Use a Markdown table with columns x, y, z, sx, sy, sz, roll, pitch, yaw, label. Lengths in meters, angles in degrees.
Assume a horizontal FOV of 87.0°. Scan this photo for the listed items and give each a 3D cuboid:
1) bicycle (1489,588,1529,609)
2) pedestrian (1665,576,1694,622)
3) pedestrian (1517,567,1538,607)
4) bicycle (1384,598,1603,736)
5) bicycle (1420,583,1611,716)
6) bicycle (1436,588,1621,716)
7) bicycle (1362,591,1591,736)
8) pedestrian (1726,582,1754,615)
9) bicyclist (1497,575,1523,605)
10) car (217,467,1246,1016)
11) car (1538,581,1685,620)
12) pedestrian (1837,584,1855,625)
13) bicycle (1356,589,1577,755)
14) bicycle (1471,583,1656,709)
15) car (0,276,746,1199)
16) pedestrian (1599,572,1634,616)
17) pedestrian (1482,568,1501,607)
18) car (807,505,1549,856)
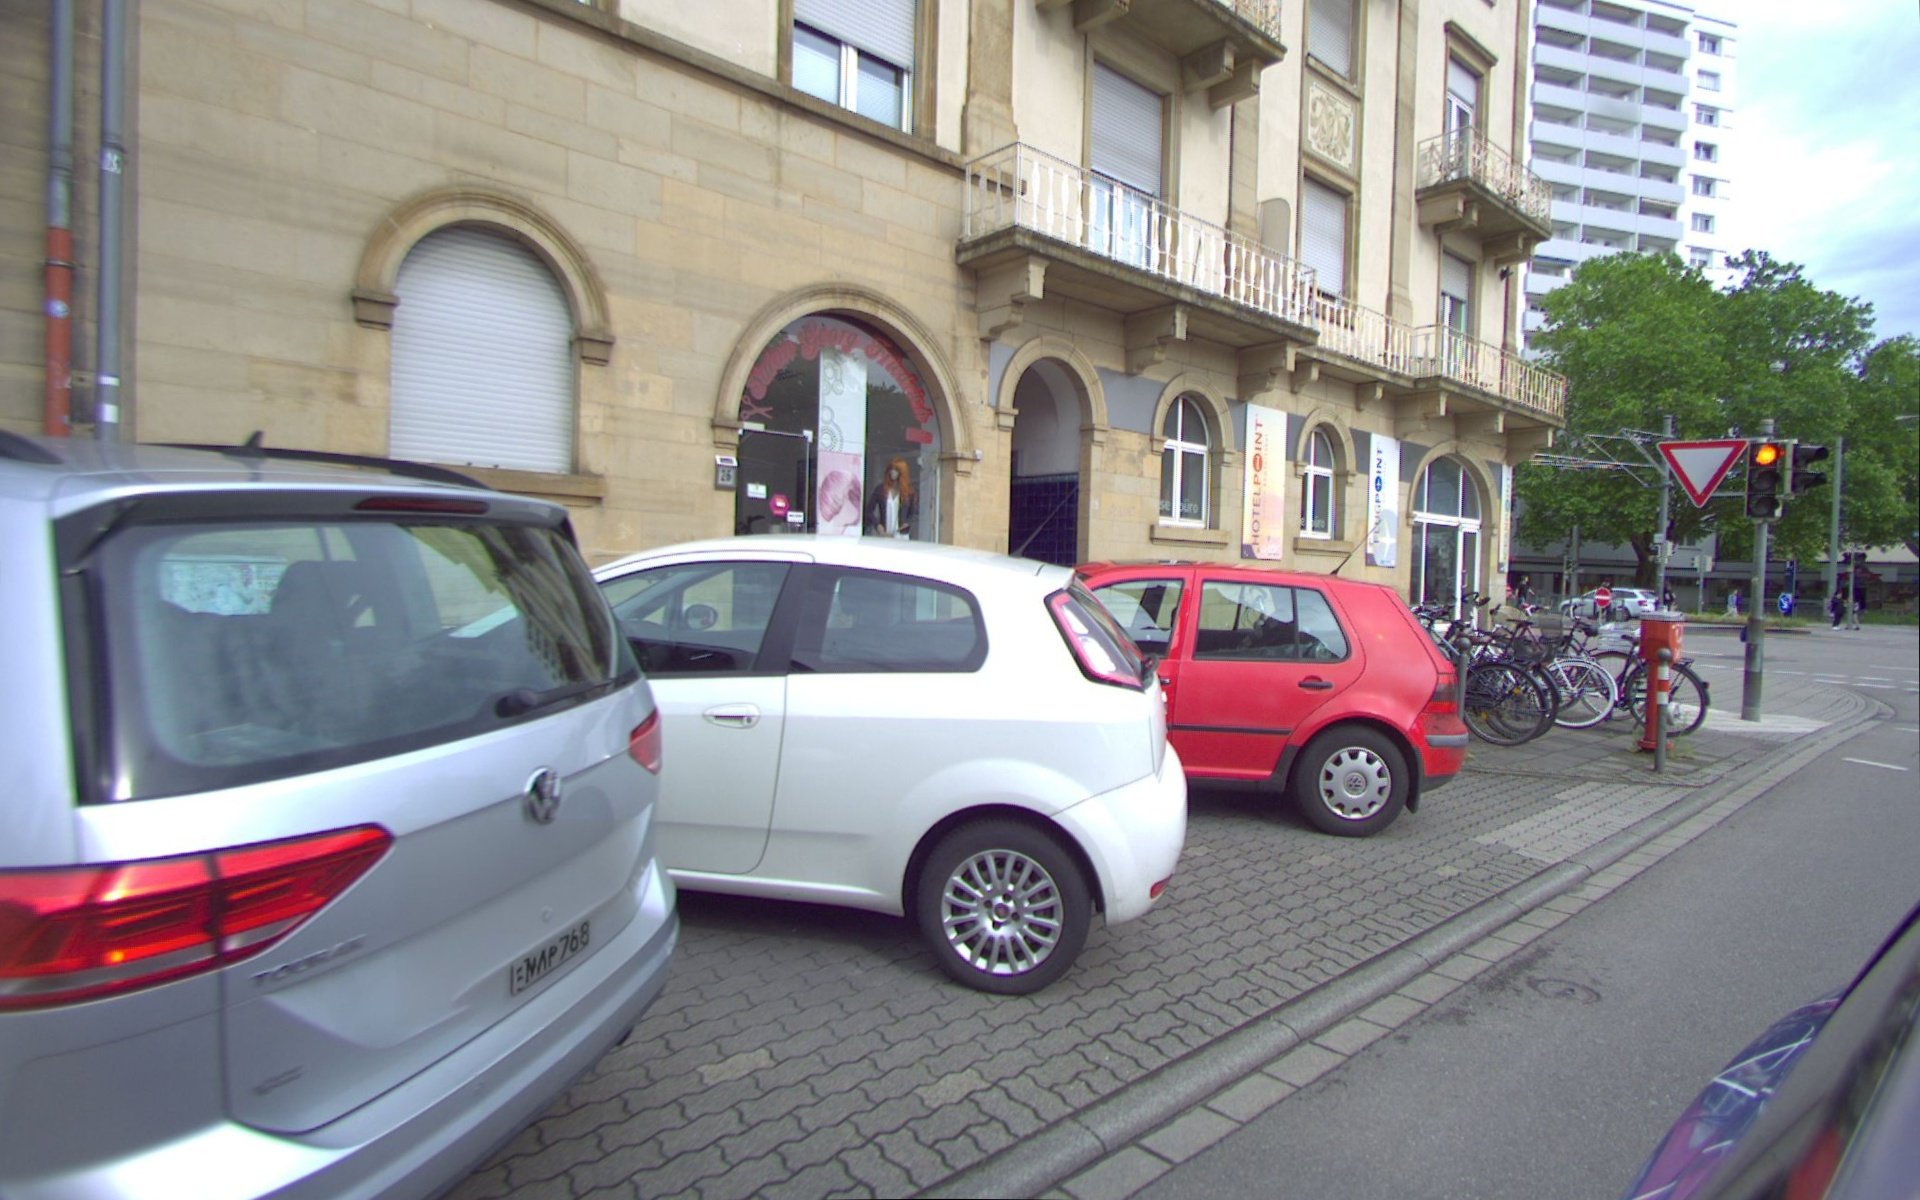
| x | y | z | sx | sy | sz | roll | pitch | yaw | label |
| --- | --- | --- | --- | --- | --- | --- | --- | --- | --- |
| 30.694 | -0.073 | 56.603 | 0.714 | 1.077 | 1.997 | 3 | 1 | -17 | bicycle |
| 27.638 | -0.047 | 38.889 | 0.642 | 1.772 | 0.629 | 0 | 1 | -14 | pedestrian |
| 25.228 | -0.572 | 44.983 | 0.609 | 1.772 | 0.549 | 0 | 1 | -16 | pedestrian |
| 5.019 | 0.587 | 9.633 | 0.468 | 1.051 | 1.737 | -1 | 6 | -41 | bicycle |
| 5.596 | 0.455 | 10.275 | 0.468 | 1.140 | 1.571 | -1 | 5 | -41 | bicycle |
| 5.943 | 0.502 | 10.649 | 0.468 | 1.140 | 1.571 | -1 | 5 | -41 | bicycle |
| 4.605 | 0.519 | 9.135 | 0.468 | 1.051 | 1.737 | -1 | 6 | -41 | bicycle |
| 37.064 | -0.086 | 48.094 | 0.543 | 1.527 | 0.855 | 0 | 1 | -10 | pedestrian |
| 30.720 | -0.564 | 56.570 | 0.693 | 1.658 | 0.996 | 3 | 1 | -17 | bicyclist |
| -0.796 | 0.357 | 4.296 | 3.528 | 1.526 | 1.846 | 4 | 4 | 8 | car |
| 29.449 | -0.026 | 46.045 | 1.808 | 1.544 | 5.716 | 2 | 1 | -18 | car |
| 36.352 | 0.178 | 41.540 | 0.522 | 1.632 | 0.519 | 1 | 2 | 42 | pedestrian |
| 4.308 | 0.559 | 8.710 | 0.468 | 1.186 | 1.571 | -1 | 5 | -41 | bicycle |
| 6.427 | 0.449 | 10.842 | 0.468 | 1.140 | 1.571 | -1 | 5 | -41 | bicycle |
| -2.867 | 0.352 | 2.493 | 4.165 | 1.702 | 1.908 | 3 | 3 | 16 | car |
| 26.104 | -0.265 | 40.230 | 0.727 | 1.716 | 0.881 | 0 | 1 | -16 | pedestrian |
| 25.172 | -0.596 | 47.941 | 0.609 | 1.811 | 0.536 | 0 | 1 | -16 | pedestrian |
| 1.133 | 0.345 | 6.233 | 3.765 | 1.579 | 1.795 | 4 | 4 | 3 | car |
